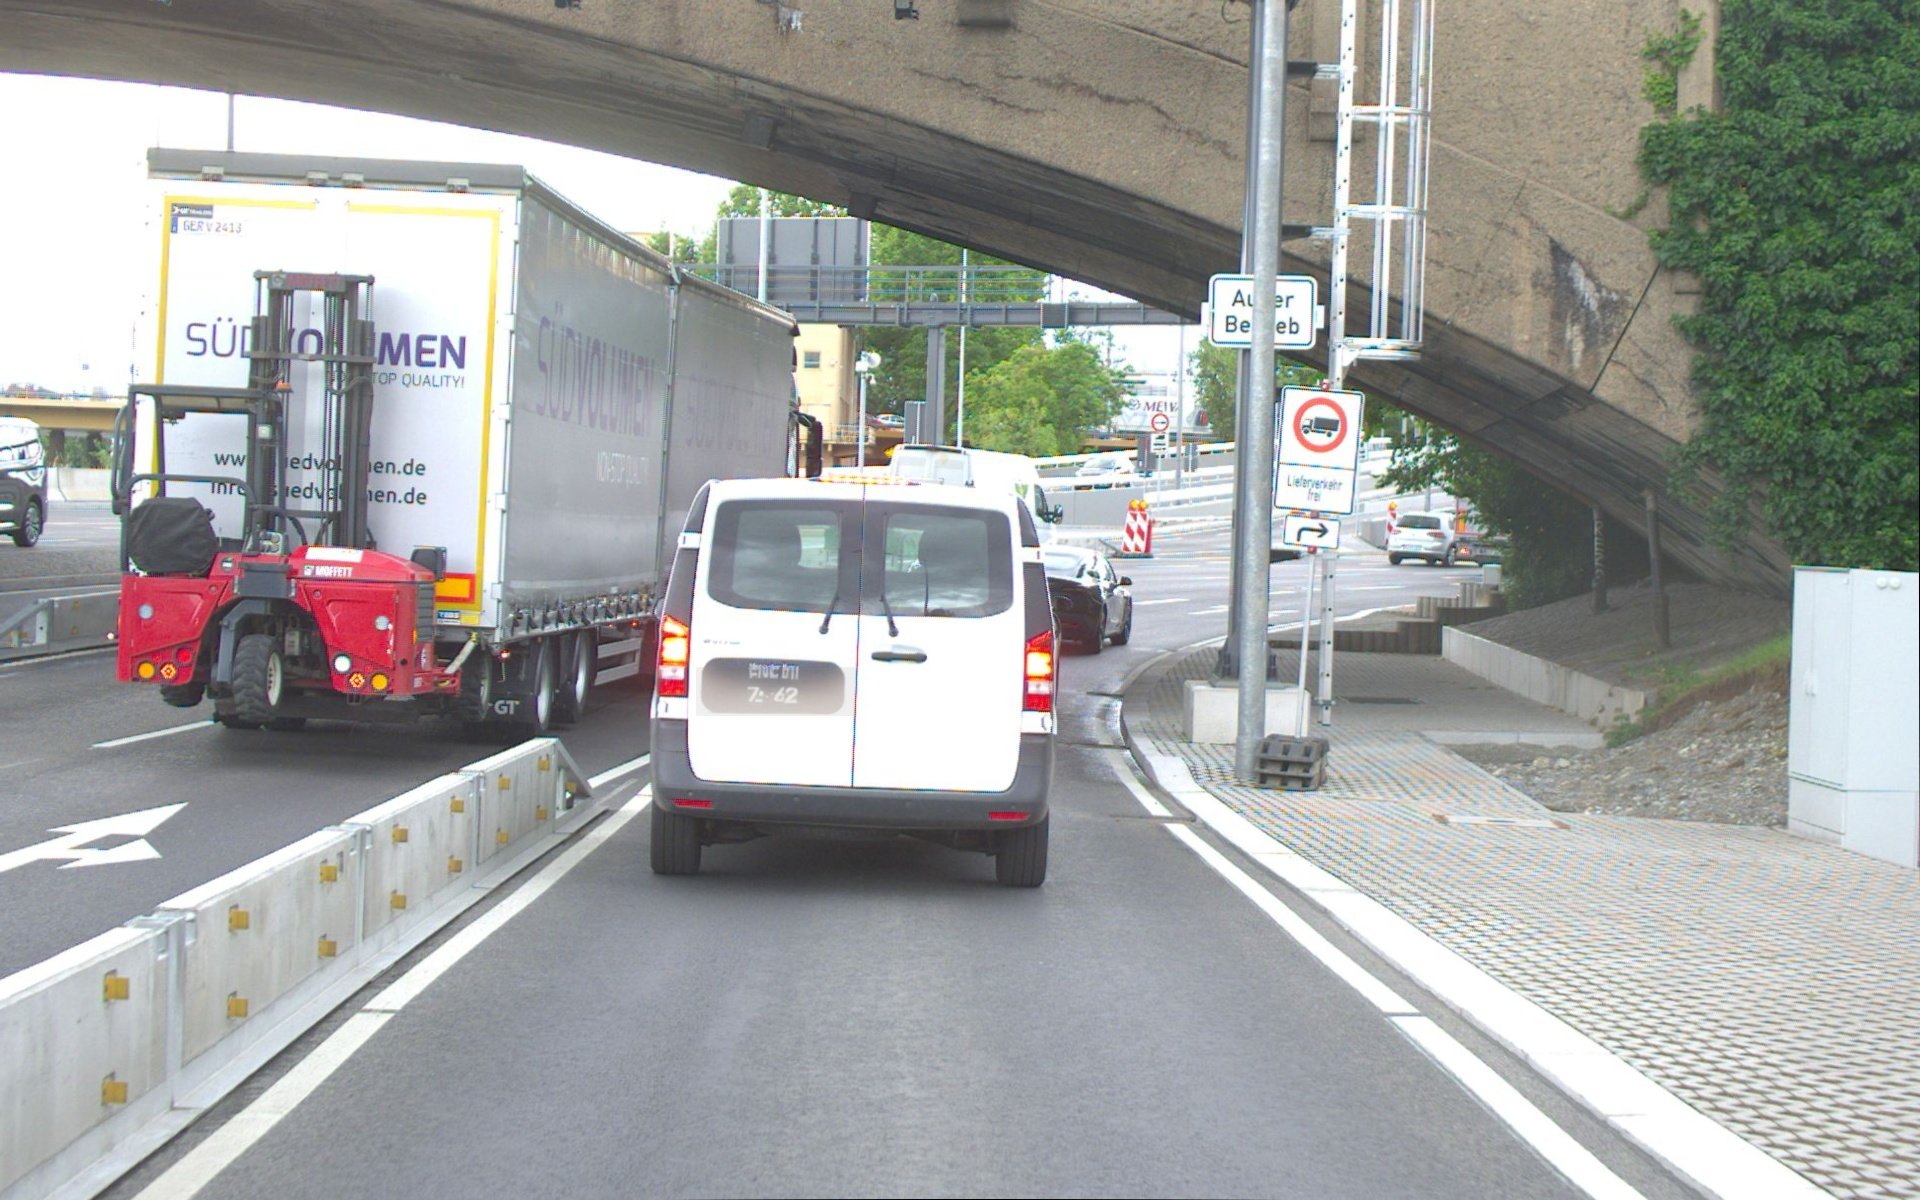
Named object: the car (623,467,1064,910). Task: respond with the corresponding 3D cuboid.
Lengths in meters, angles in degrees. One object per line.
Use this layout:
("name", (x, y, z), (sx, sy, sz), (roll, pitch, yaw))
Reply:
("car", (-0.482, 0.364, 17.556), (1.876, 1.884, 4.753), (2, 1, 1))

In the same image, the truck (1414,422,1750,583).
("truck", (17.022, -2.511, 92.415), (3.323, 3.796, 16.565), (5, 3, 30))

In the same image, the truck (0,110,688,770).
("truck", (-4.278, -1.066, 26.619), (2.918, 4.003, 10.200), (3, 1, 3))

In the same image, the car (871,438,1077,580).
("car", (0.325, -1.762, 66.929), (1.996, 2.532, 5.168), (5, 3, 23))

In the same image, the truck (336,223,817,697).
("truck", (-3.712, -1.275, 36.764), (2.988, 4.162, 11.239), (3, 0, 4))

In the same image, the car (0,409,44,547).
("car", (-15.624, -1.909, 52.054), (1.962, 2.007, 5.189), (0, -1, 2))

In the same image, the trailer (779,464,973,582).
("trailer", (-1.489, -1.402, 62.700), (1.996, 1.950, 4.074), (5, 3, 21))

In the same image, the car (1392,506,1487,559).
("car", (13.060, -1.845, 93.495), (1.374, 1.371, 3.456), (2, 2, 29))
